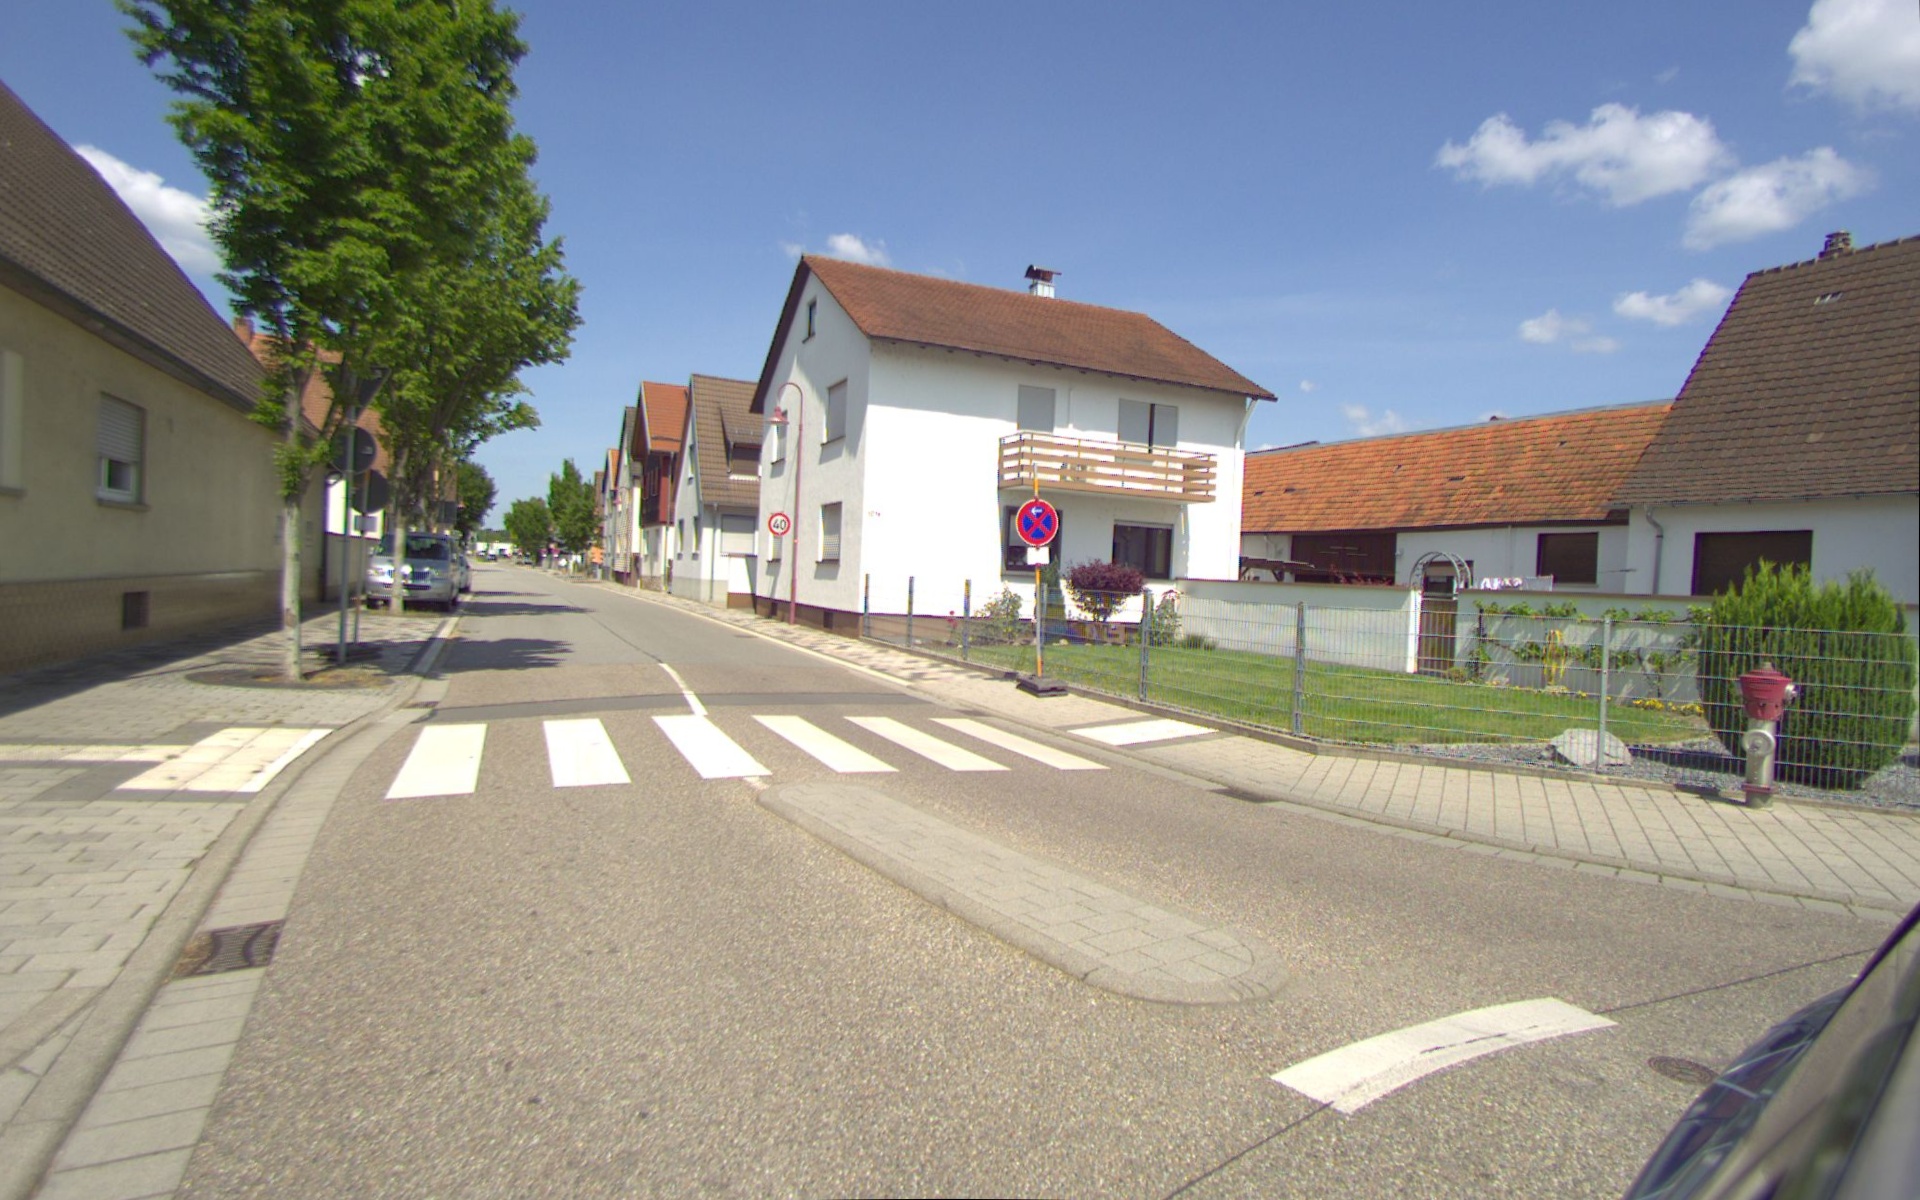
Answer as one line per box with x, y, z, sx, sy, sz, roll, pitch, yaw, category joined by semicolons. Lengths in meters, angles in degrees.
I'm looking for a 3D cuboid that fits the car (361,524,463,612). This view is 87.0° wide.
-14.009;-0.835;26.112;1.958;1.963;4.487;3;1;-25;car

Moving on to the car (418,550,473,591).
-19.312;-1.138;38.093;1.652;1.398;3.567;3;1;-25;car
